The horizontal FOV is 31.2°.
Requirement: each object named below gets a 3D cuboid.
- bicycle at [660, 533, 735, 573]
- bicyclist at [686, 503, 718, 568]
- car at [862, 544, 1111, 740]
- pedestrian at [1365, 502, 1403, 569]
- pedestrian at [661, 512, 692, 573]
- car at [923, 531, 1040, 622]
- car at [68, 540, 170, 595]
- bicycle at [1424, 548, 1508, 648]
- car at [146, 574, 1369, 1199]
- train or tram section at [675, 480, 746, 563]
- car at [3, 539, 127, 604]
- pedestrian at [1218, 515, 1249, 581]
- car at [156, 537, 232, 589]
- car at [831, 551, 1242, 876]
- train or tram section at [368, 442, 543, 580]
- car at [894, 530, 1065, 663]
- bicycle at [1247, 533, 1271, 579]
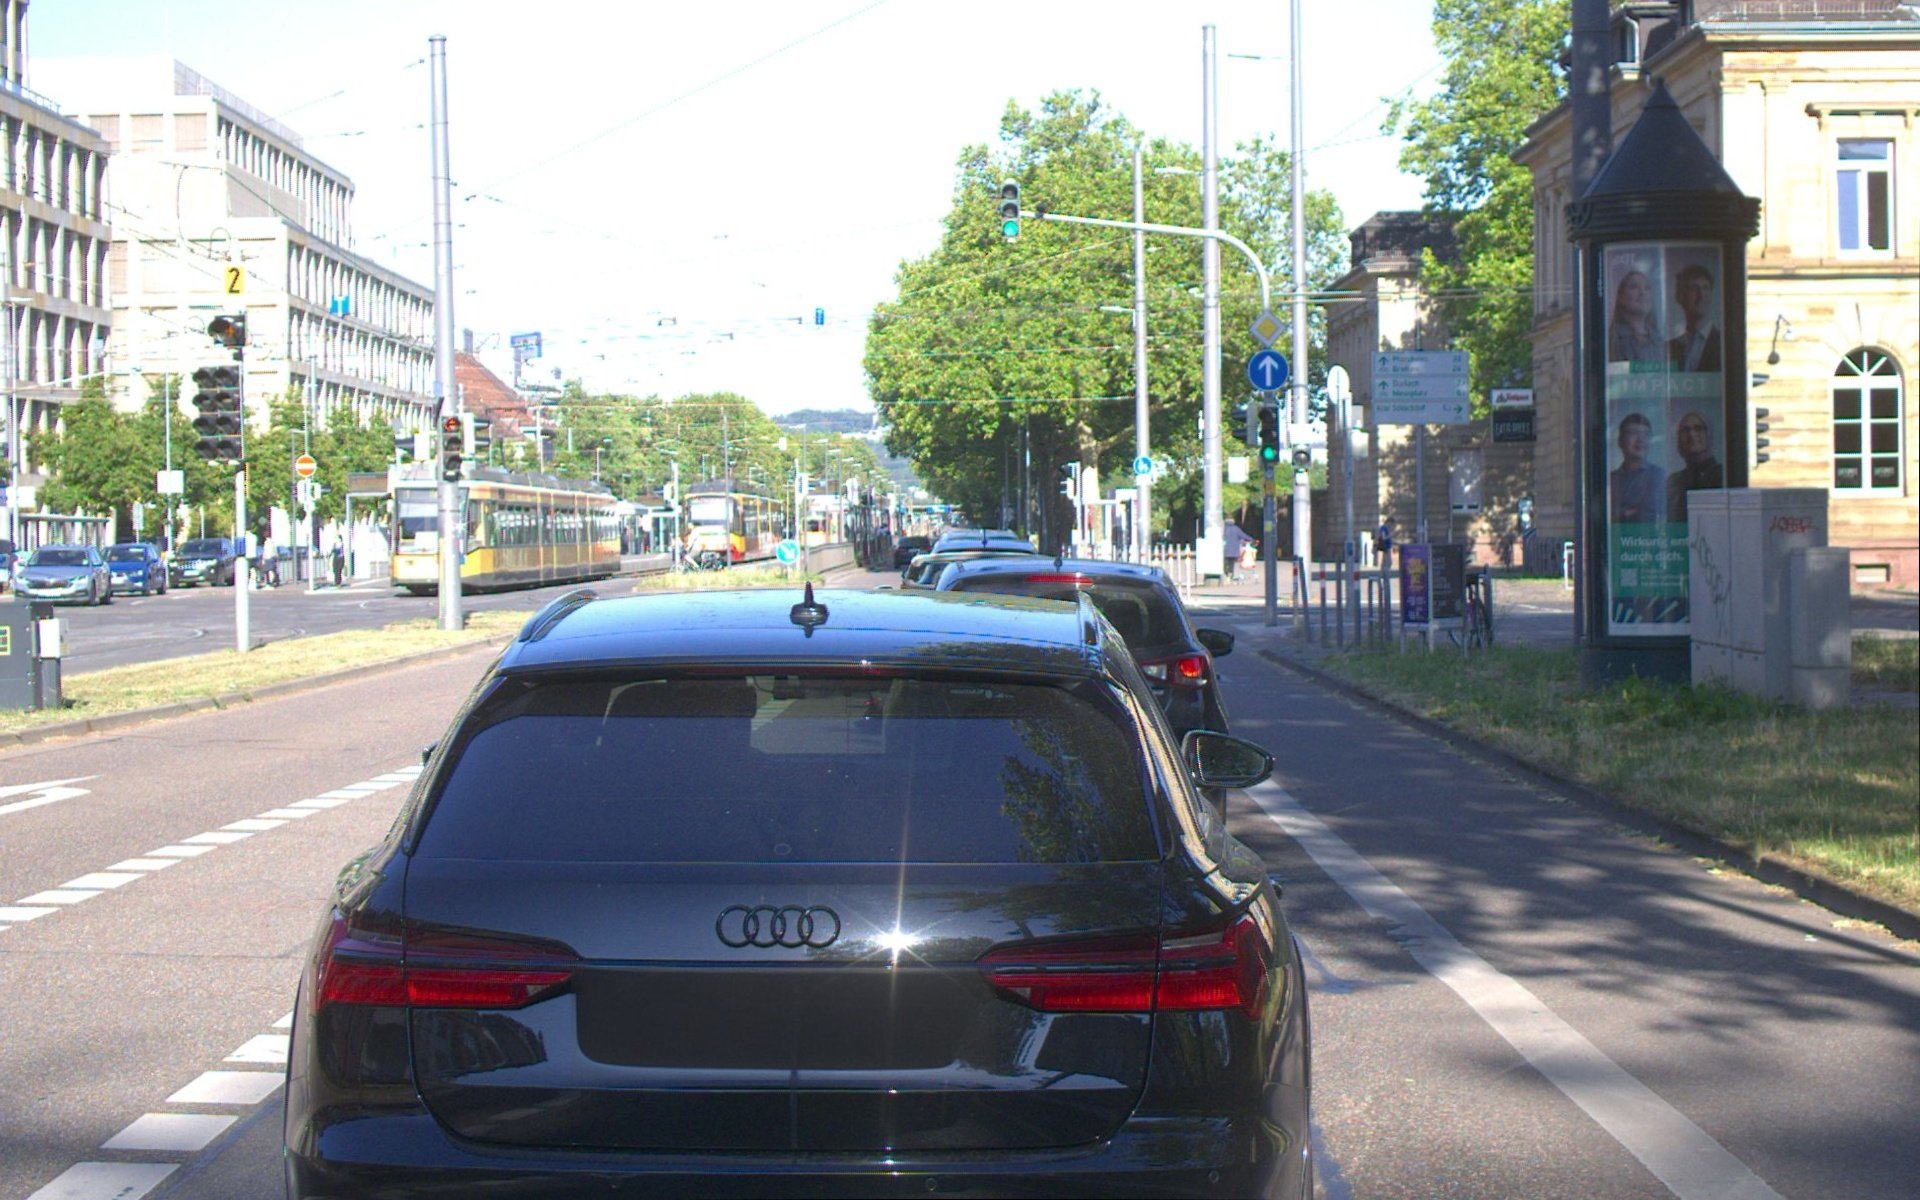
[{"bbox_3d":[-7.410,-1.333,97.045,2.005,1.104,0.765,-1,1,-16],"label":"bicycle"},{"bbox_3d":[-7.285,-1.825,97.058,0.756,1.812,0.765,-1,1,-16],"label":"bicyclist"},{"bbox_3d":[0.215,0.288,28.525,1.902,1.481,4.145,0,1,0],"label":"car"},{"bbox_3d":[11.927,-1.818,96.708,0.979,1.859,0.827,-1,1,1],"label":"pedestrian"},{"bbox_3d":[-8.122,-1.654,98.486,0.739,1.735,0.664,-1,1,-14],"label":"pedestrian"},{"bbox_3d":[0.365,-0.420,58.342,1.902,1.481,4.145,0,1,0],"label":"car"},{"bbox_3d":[-23.066,-0.913,94.437,1.820,1.452,4.157,-1,1,-1],"label":"car"},{"bbox_3d":[5.539,-0.036,37.737,0.540,1.058,1.772,-1,1,-4],"label":"bicycle"},{"bbox_3d":[-0.308,0.684,7.432,1.902,1.417,4.145,0,1,0],"label":"car"},{"bbox_3d":[-10.802,-3.413,149.677,2.608,3.439,11.134,-1,1,-2],"label":"train or tram section"},{"bbox_3d":[-21.218,-0.696,81.641,1.820,1.452,4.541,-1,1,-1],"label":"car"},{"bbox_3d":[6.884,-1.311,86.483,0.682,1.655,0.758,-1,1,-2],"label":"pedestrian"},{"bbox_3d":[-27.518,-1.355,123.677,1.842,1.806,4.113,-1,1,-1],"label":"car"},{"bbox_3d":[0.366,0.499,18.061,1.902,1.481,4.145,0,1,0],"label":"car"},{"bbox_3d":[-13.640,-2.407,94.093,2.813,3.477,13.204,-1,1,0],"label":"train or tram section"},{"bbox_3d":[0.234,-0.078,40.561,1.902,1.481,4.145,0,1,0],"label":"car"},{"bbox_3d":[7.510,-1.107,86.511,0.434,1.141,1.340,-1,1,-2],"label":"bicycle"}]
